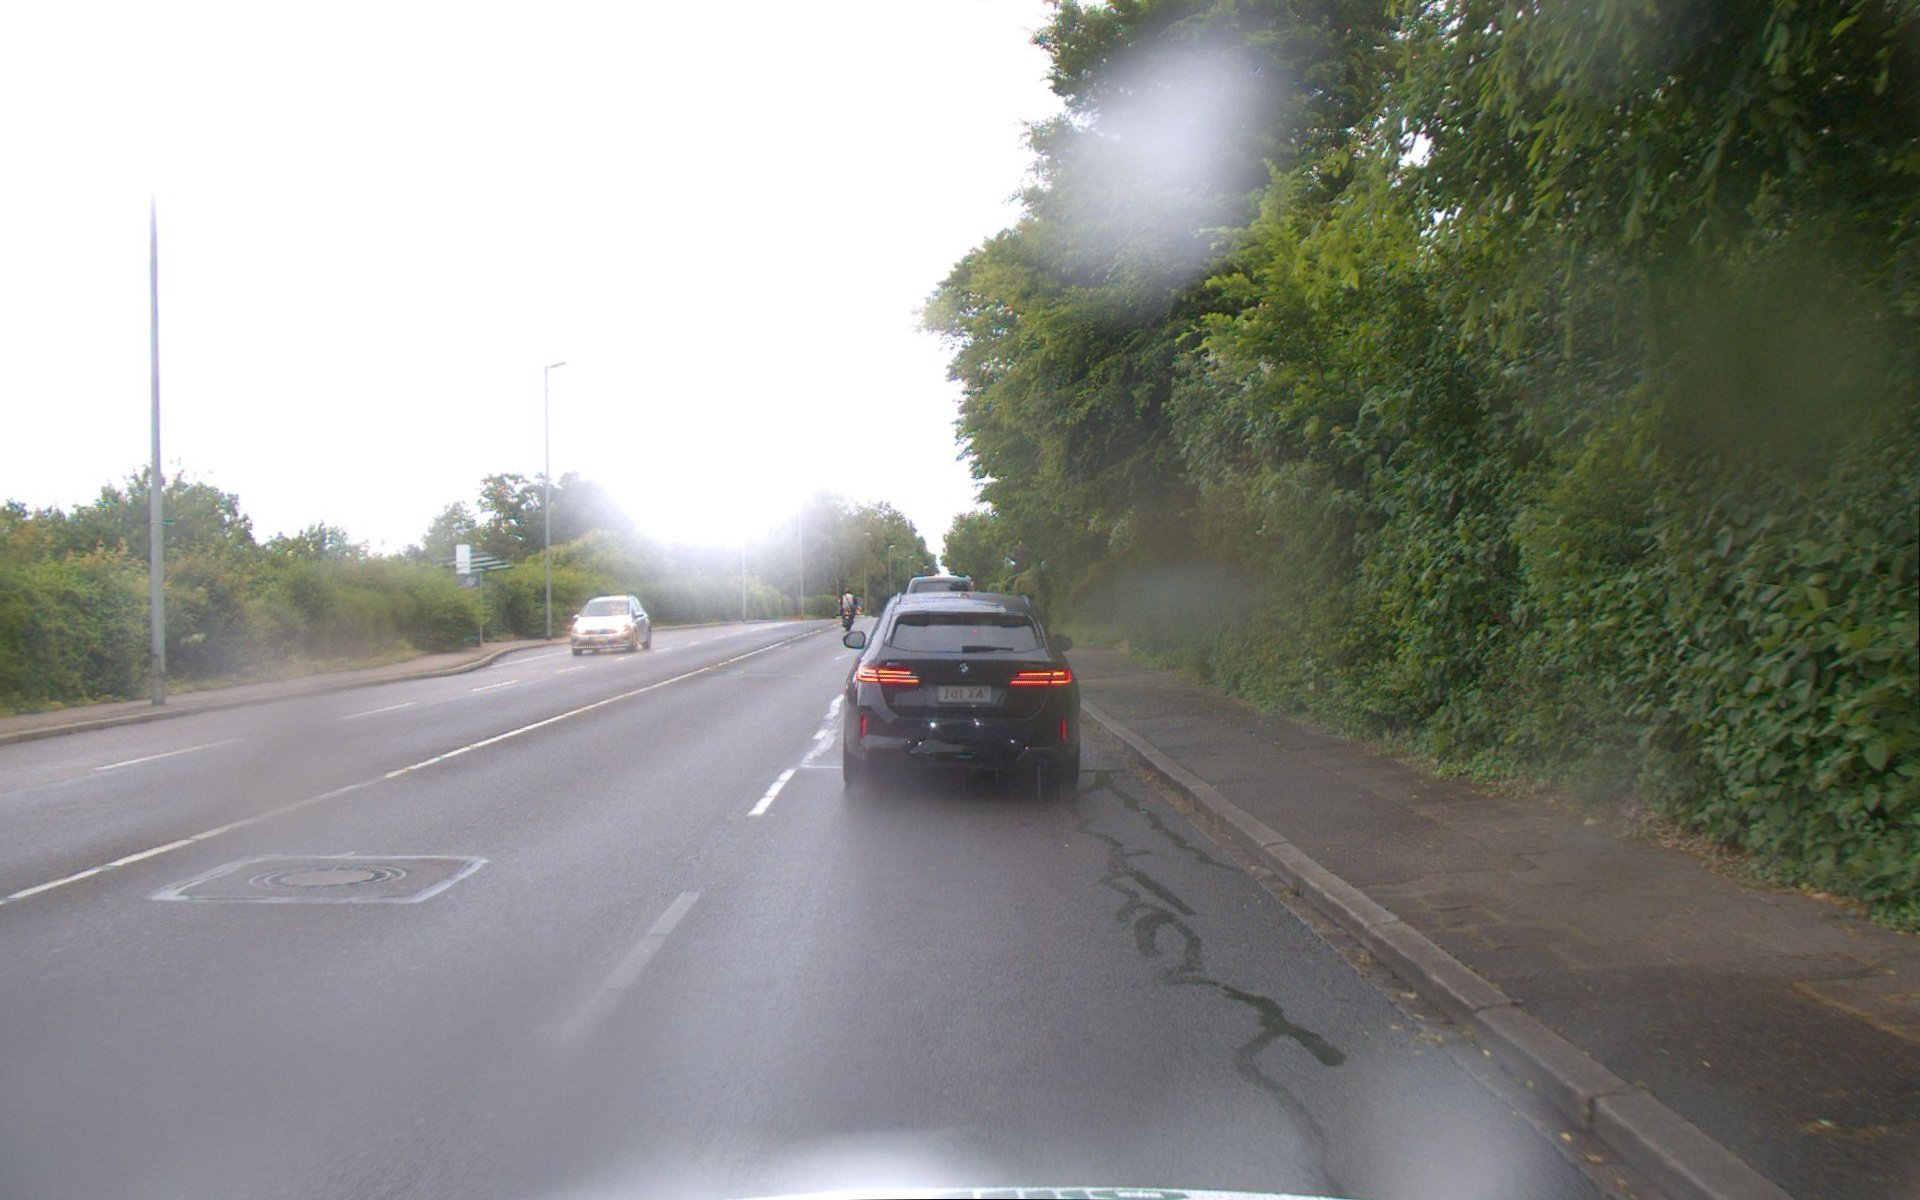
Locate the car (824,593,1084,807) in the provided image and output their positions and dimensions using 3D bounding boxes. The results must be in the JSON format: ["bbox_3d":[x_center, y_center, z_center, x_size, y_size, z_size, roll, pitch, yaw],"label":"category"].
[{"bbox_3d":[-0.033,0.732,13.968,1.858,1.515,4.000,1,0,0],"label":"car"}]

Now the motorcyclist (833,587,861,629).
[{"bbox_3d":[-4.445,0.313,64.970,1.018,1.595,0.855,1,-1,-1],"label":"motorcyclist"}]

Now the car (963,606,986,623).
[{"bbox_3d":[1.295,1.258,148.139,1.895,1.467,4.409,-1,0,2],"label":"car"}]

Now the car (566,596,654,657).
[{"bbox_3d":[-9.919,0.715,47.120,1.721,1.595,3.998,-2,0,-2],"label":"car"}]

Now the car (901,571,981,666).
[{"bbox_3d":[-0.413,0.369,35.673,1.596,1.865,3.999,-2,0,-1],"label":"car"}]

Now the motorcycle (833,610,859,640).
[{"bbox_3d":[-4.455,0.974,64.900,0.858,1.144,2.740,1,-1,-1],"label":"motorcycle"}]
